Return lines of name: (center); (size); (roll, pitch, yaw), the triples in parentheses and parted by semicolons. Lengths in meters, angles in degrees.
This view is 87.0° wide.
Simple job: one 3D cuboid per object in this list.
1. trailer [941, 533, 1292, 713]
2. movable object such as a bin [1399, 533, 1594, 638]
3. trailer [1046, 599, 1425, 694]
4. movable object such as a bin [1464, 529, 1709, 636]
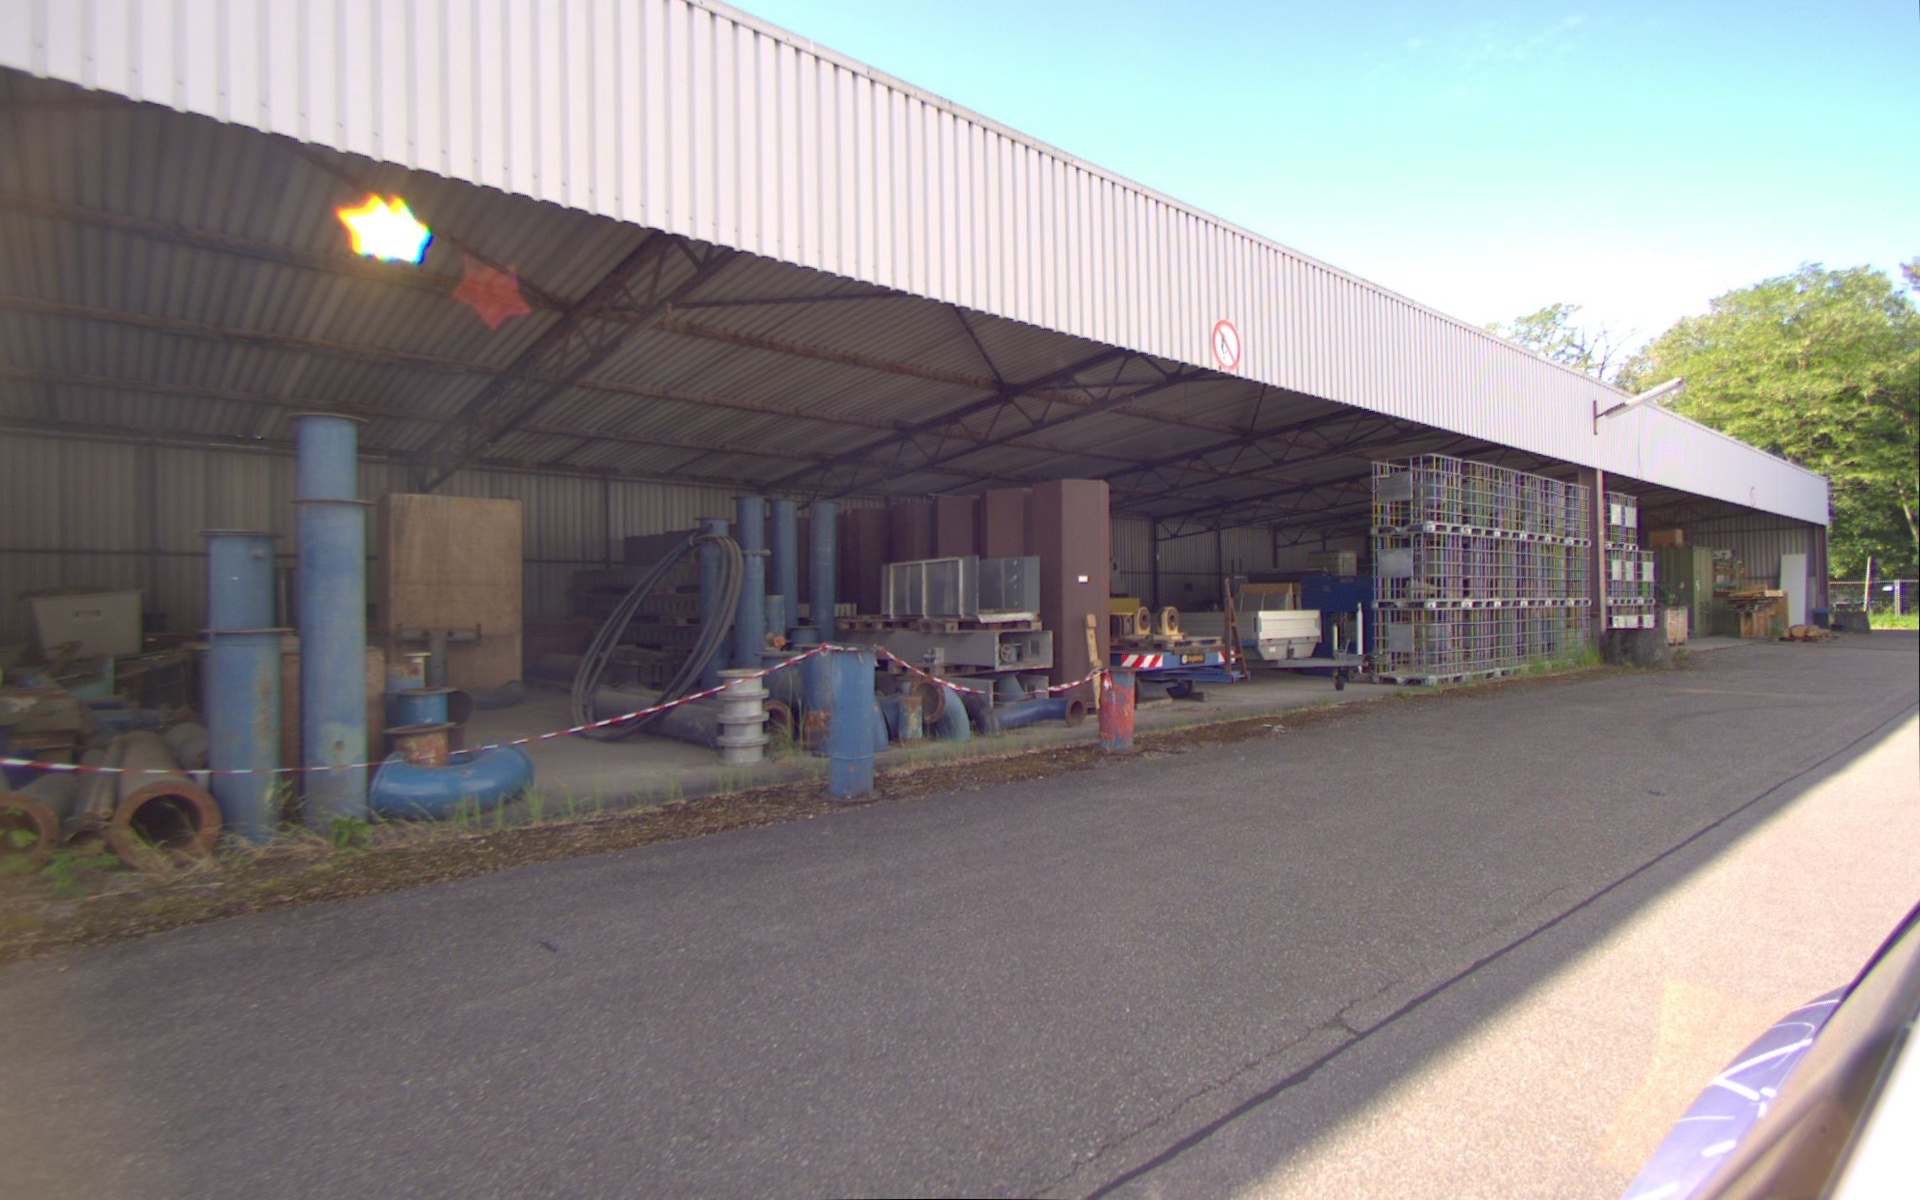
trailer: (1.935, 0.222, 13.714); (2.124, 2.015, 4.433); (-1, 1, -39)
movable object such as a bin: (15.914, -0.381, 30.181); (2.453, 2.867, 4.535); (0, -1, -40)
trailer: (4.132, 0.612, 16.197); (1.941, 1.200, 5.736); (-1, 1, -42)
movable object such as a bin: (19.196, -0.470, 31.281); (2.770, 2.962, 5.845); (0, 0, -40)
